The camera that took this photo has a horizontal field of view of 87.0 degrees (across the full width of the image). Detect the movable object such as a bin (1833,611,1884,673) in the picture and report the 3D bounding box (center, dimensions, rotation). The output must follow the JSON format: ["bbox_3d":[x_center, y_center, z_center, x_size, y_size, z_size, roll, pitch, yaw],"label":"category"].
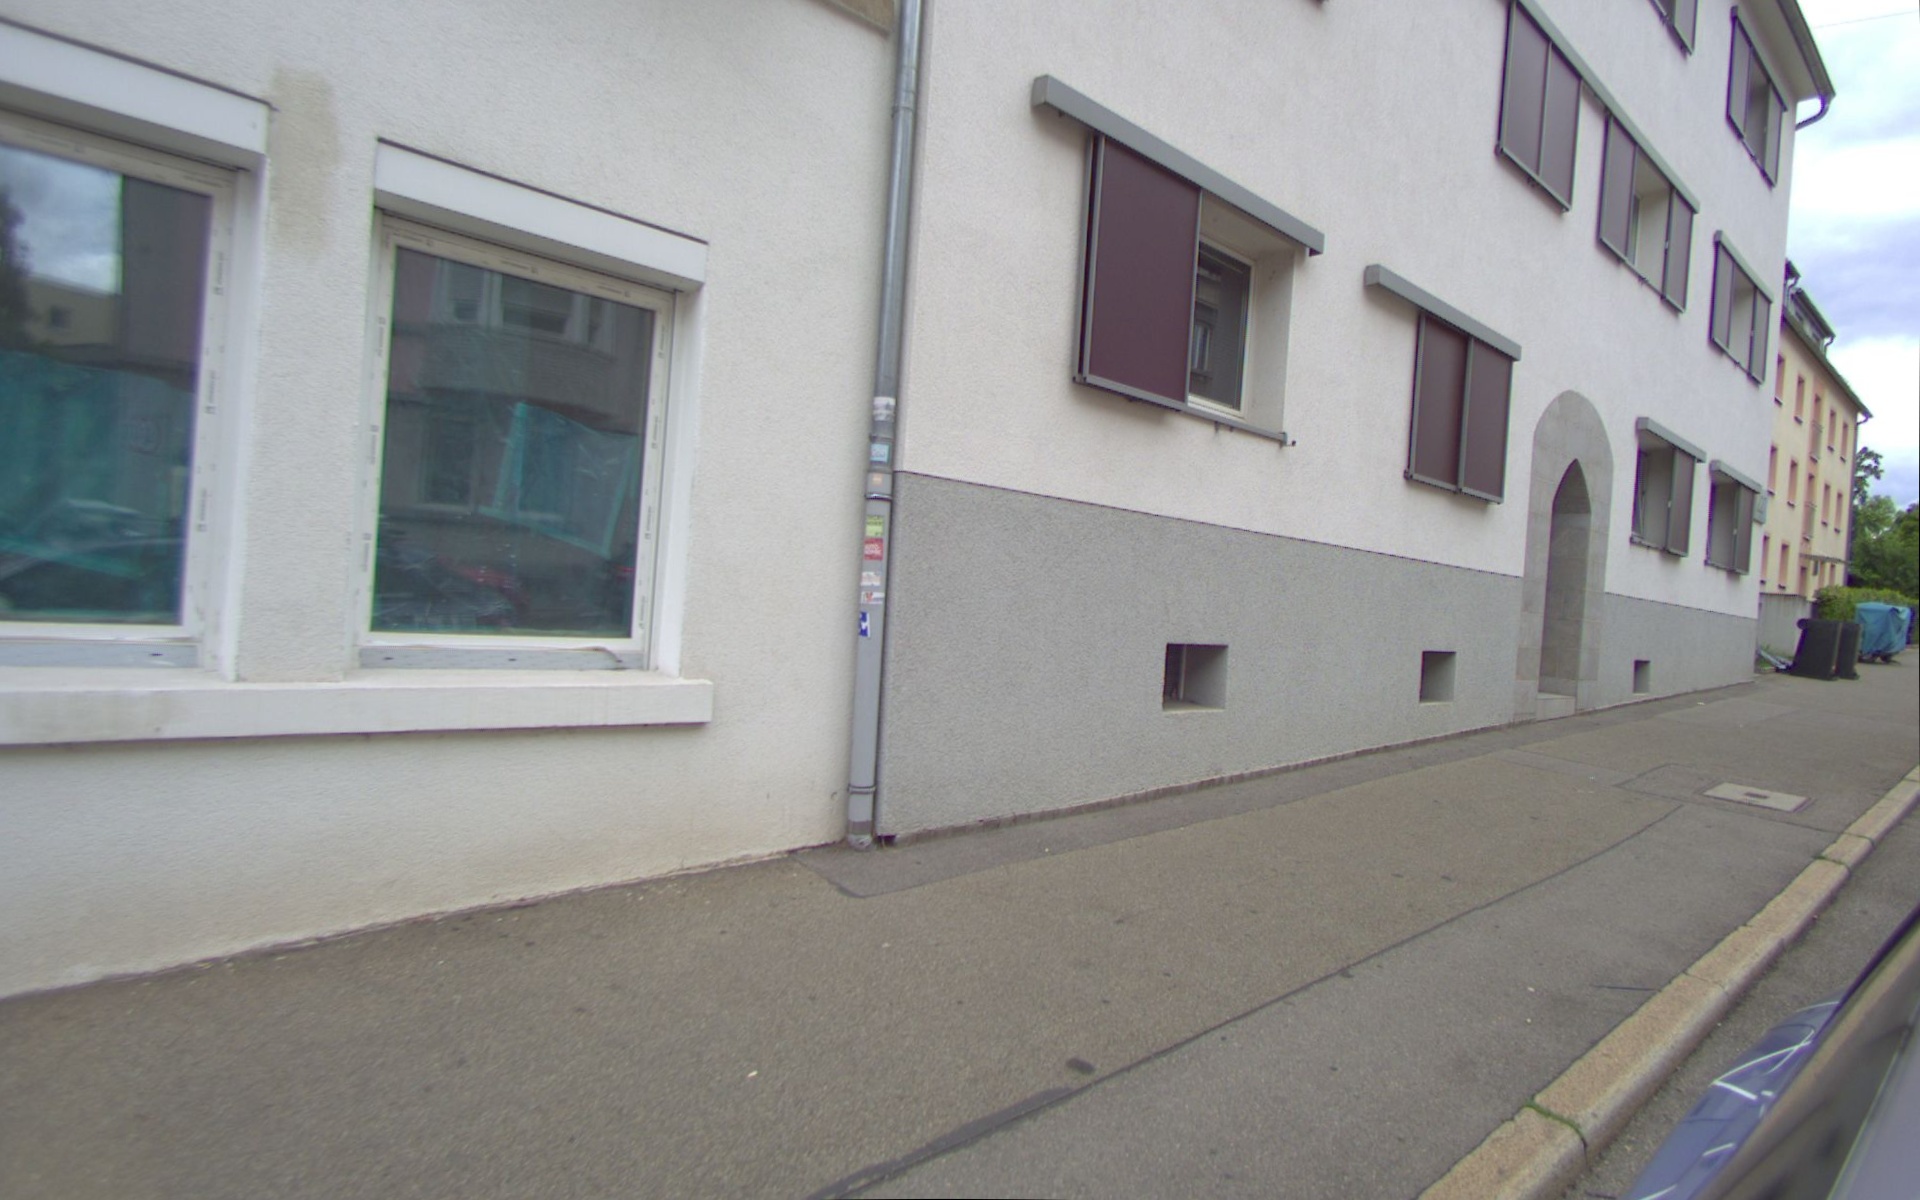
[{"bbox_3d":[15.984,0.739,18.012,0.563,1.021,0.491,8,4,41],"label":"movable object such as a bin"}]

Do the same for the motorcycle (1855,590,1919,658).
[{"bbox_3d":[21.103,0.551,22.854,1.899,1.406,0.733,2,5,-34],"label":"motorcycle"}]

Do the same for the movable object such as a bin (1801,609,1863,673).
[{"bbox_3d":[15.182,0.699,17.624,0.592,1.021,0.638,2,4,-40],"label":"movable object such as a bin"}]
